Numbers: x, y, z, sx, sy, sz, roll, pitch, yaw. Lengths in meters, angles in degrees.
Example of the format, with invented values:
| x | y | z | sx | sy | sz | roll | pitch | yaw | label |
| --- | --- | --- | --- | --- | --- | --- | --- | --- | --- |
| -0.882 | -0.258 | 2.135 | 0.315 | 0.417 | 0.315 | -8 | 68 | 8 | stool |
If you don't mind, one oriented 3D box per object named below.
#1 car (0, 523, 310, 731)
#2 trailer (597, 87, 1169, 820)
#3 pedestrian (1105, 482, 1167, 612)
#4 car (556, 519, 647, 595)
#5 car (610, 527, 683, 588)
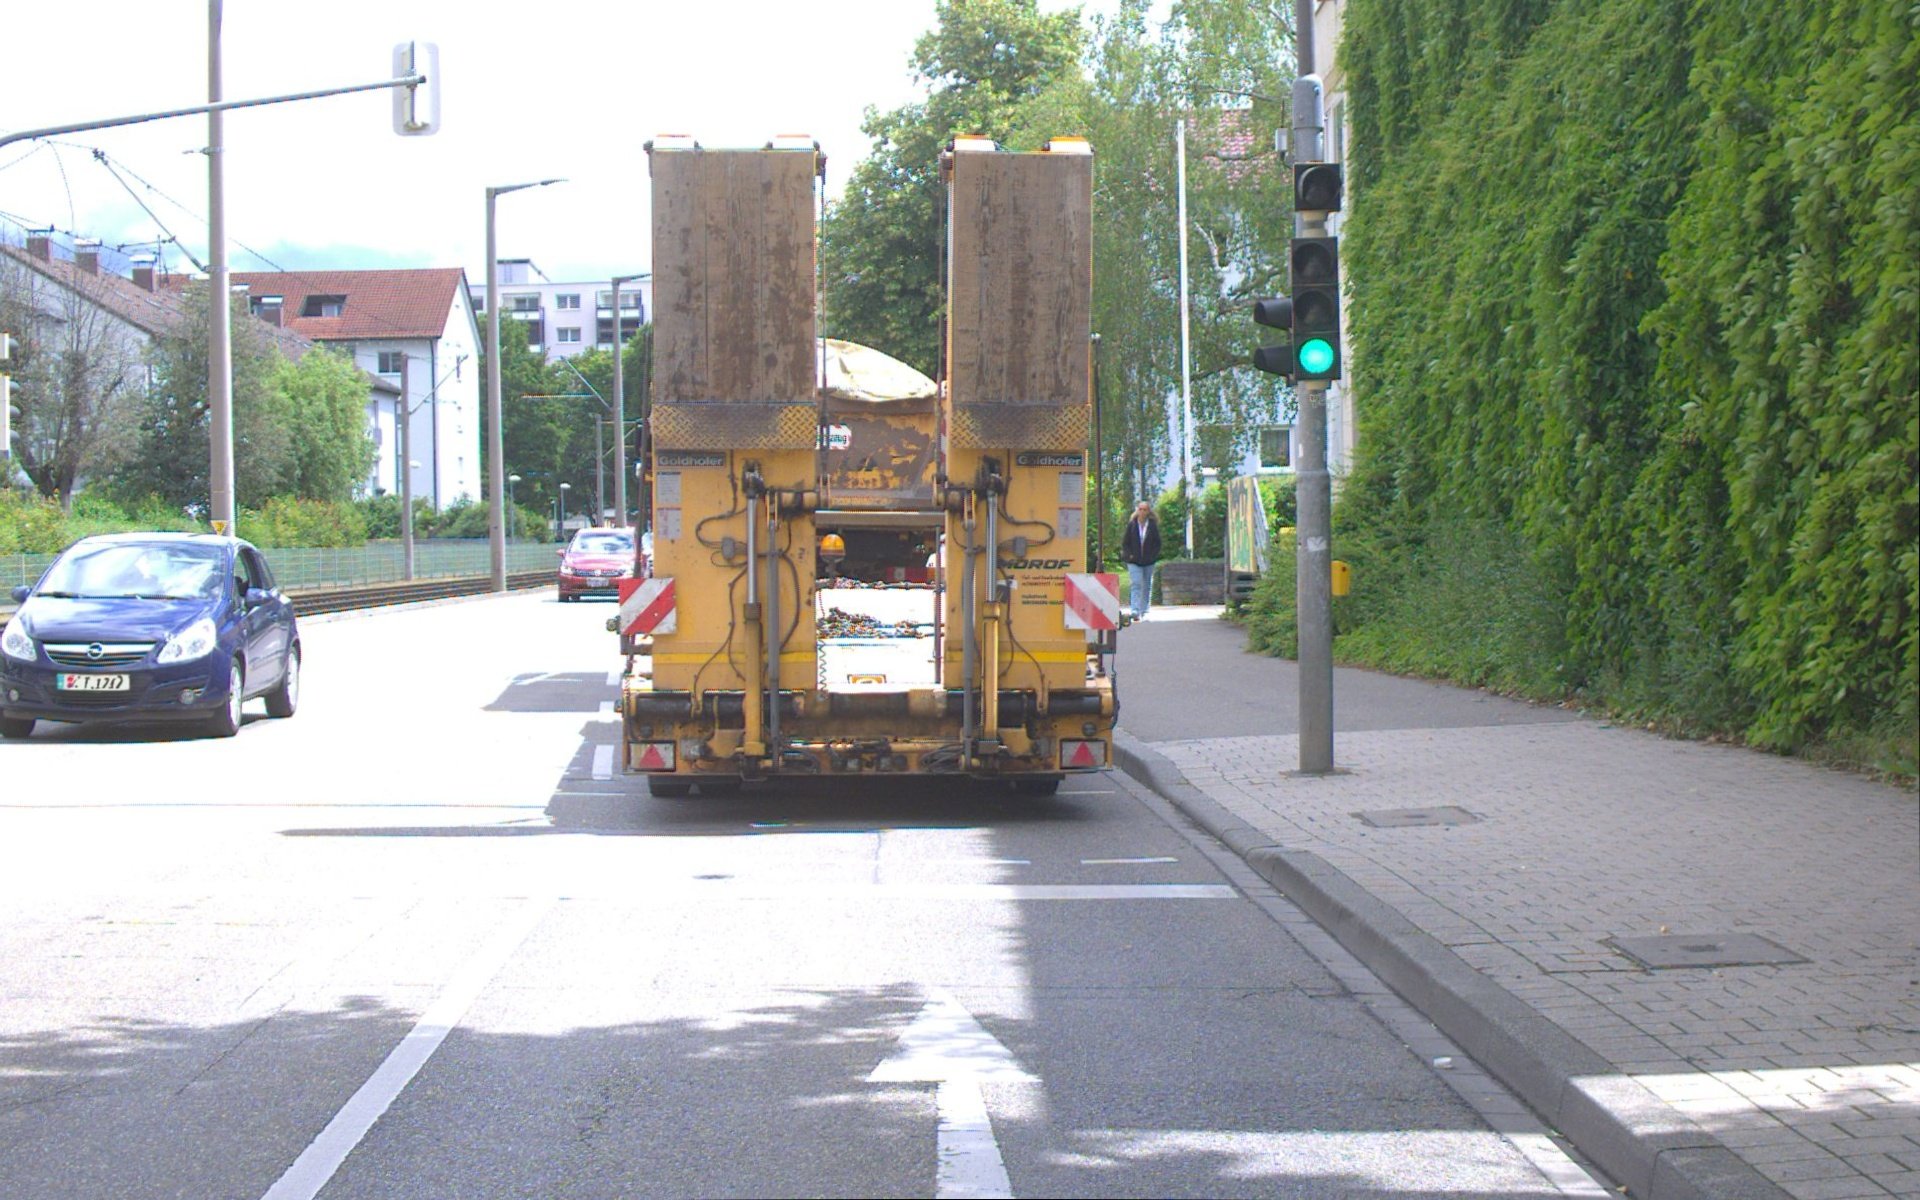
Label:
| x | y | z | sx | sy | sz | roll | pitch | yaw | label |
| --- | --- | --- | --- | --- | --- | --- | --- | --- | --- |
| -6.053 | 0.157 | 25.811 | 1.717 | 1.436 | 4.009 | 0 | 1 | -2 | car |
| -1.007 | -0.845 | 23.462 | 2.826 | 3.633 | 12.357 | 1 | 1 | -6 | trailer |
| 2.438 | -0.736 | 47.577 | 0.809 | 1.765 | 0.816 | 1 | 1 | 5 | pedestrian |
| -7.644 | -0.930 | 73.591 | 1.663 | 1.546 | 4.001 | 1 | 1 | -2 | car |
| -8.097 | -1.118 | 89.083 | 1.760 | 1.546 | 4.001 | 0 | 1 | -4 | car |
